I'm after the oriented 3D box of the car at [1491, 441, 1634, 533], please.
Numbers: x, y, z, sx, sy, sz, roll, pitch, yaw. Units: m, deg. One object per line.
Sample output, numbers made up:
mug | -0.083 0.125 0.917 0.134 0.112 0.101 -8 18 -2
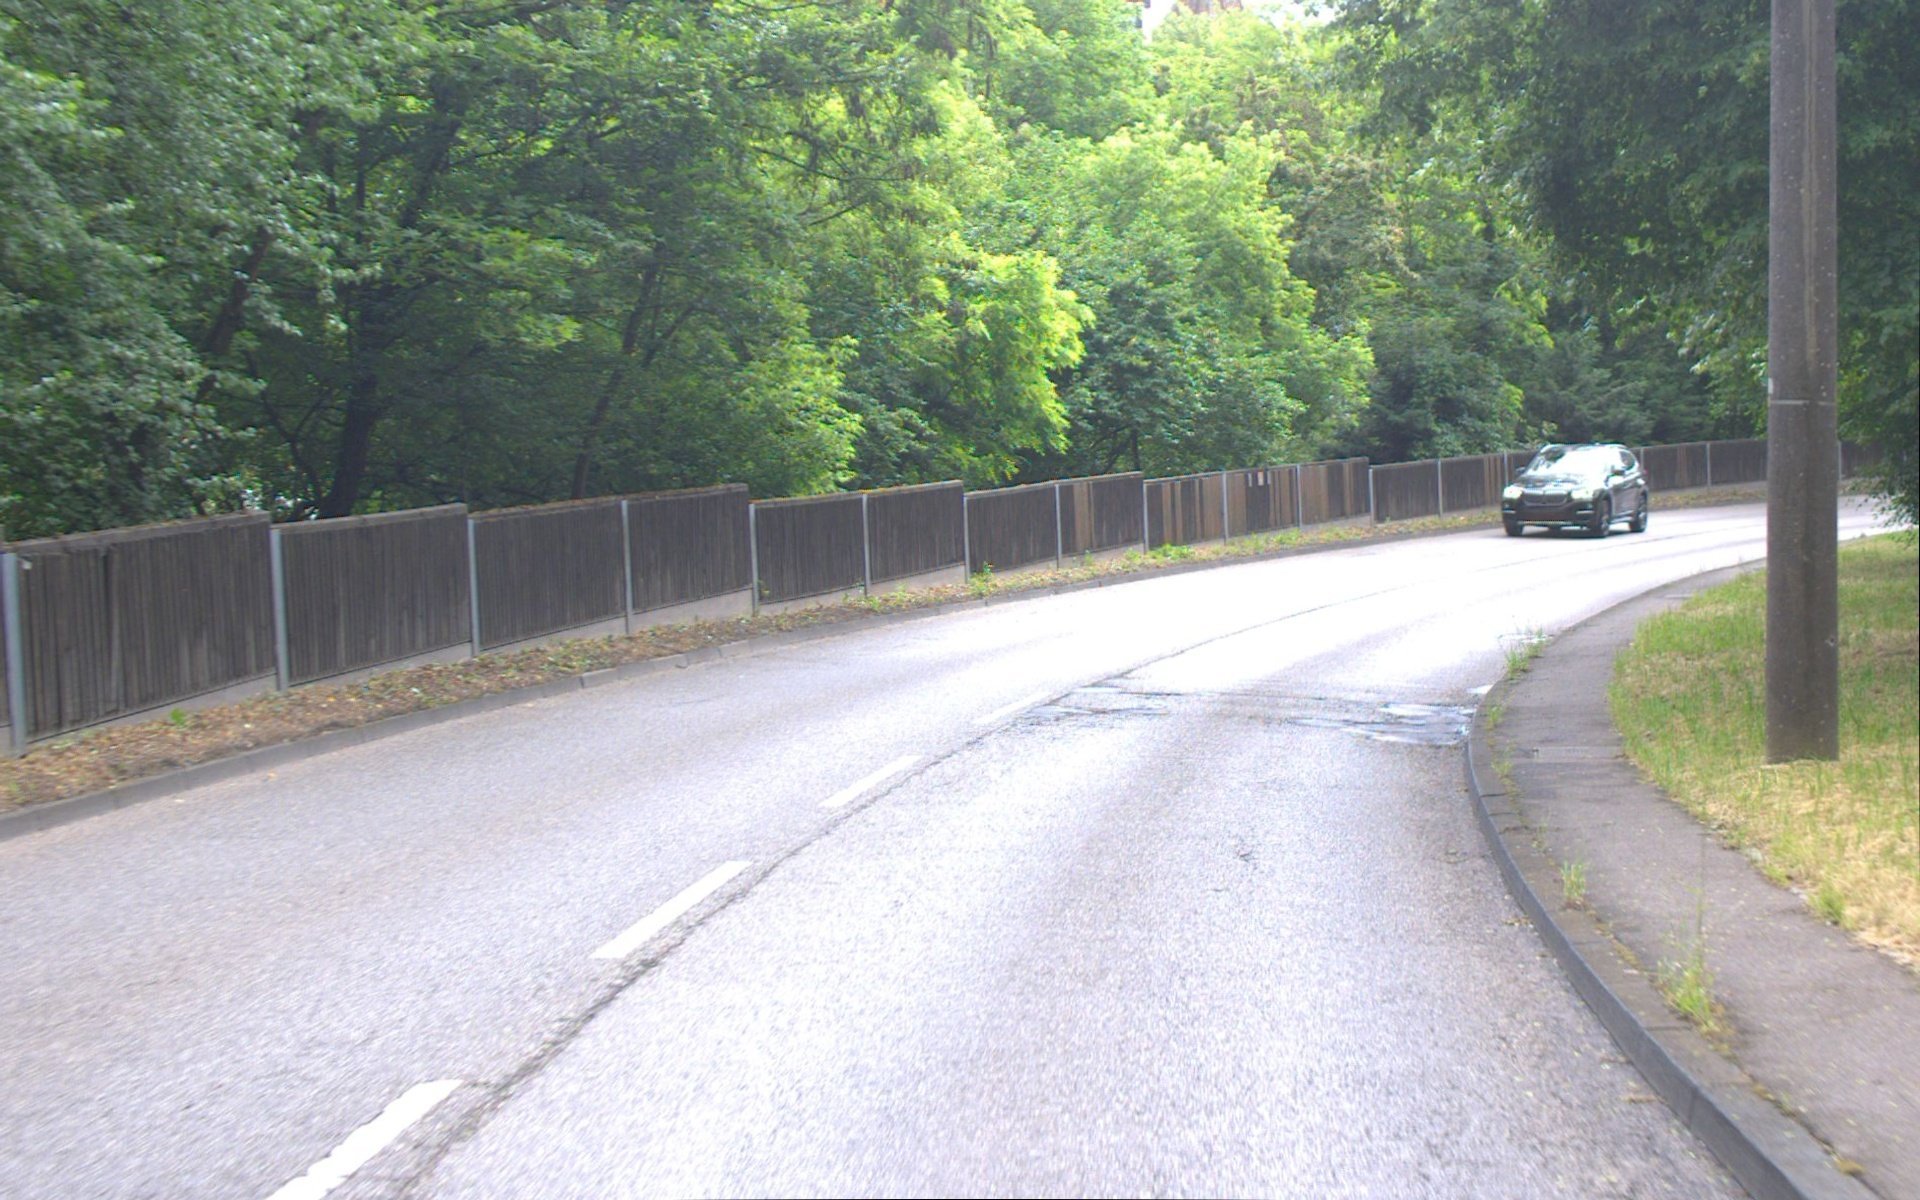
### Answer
car | 10.927 -2.075 62.125 1.847 1.559 4.230 1 3 19
